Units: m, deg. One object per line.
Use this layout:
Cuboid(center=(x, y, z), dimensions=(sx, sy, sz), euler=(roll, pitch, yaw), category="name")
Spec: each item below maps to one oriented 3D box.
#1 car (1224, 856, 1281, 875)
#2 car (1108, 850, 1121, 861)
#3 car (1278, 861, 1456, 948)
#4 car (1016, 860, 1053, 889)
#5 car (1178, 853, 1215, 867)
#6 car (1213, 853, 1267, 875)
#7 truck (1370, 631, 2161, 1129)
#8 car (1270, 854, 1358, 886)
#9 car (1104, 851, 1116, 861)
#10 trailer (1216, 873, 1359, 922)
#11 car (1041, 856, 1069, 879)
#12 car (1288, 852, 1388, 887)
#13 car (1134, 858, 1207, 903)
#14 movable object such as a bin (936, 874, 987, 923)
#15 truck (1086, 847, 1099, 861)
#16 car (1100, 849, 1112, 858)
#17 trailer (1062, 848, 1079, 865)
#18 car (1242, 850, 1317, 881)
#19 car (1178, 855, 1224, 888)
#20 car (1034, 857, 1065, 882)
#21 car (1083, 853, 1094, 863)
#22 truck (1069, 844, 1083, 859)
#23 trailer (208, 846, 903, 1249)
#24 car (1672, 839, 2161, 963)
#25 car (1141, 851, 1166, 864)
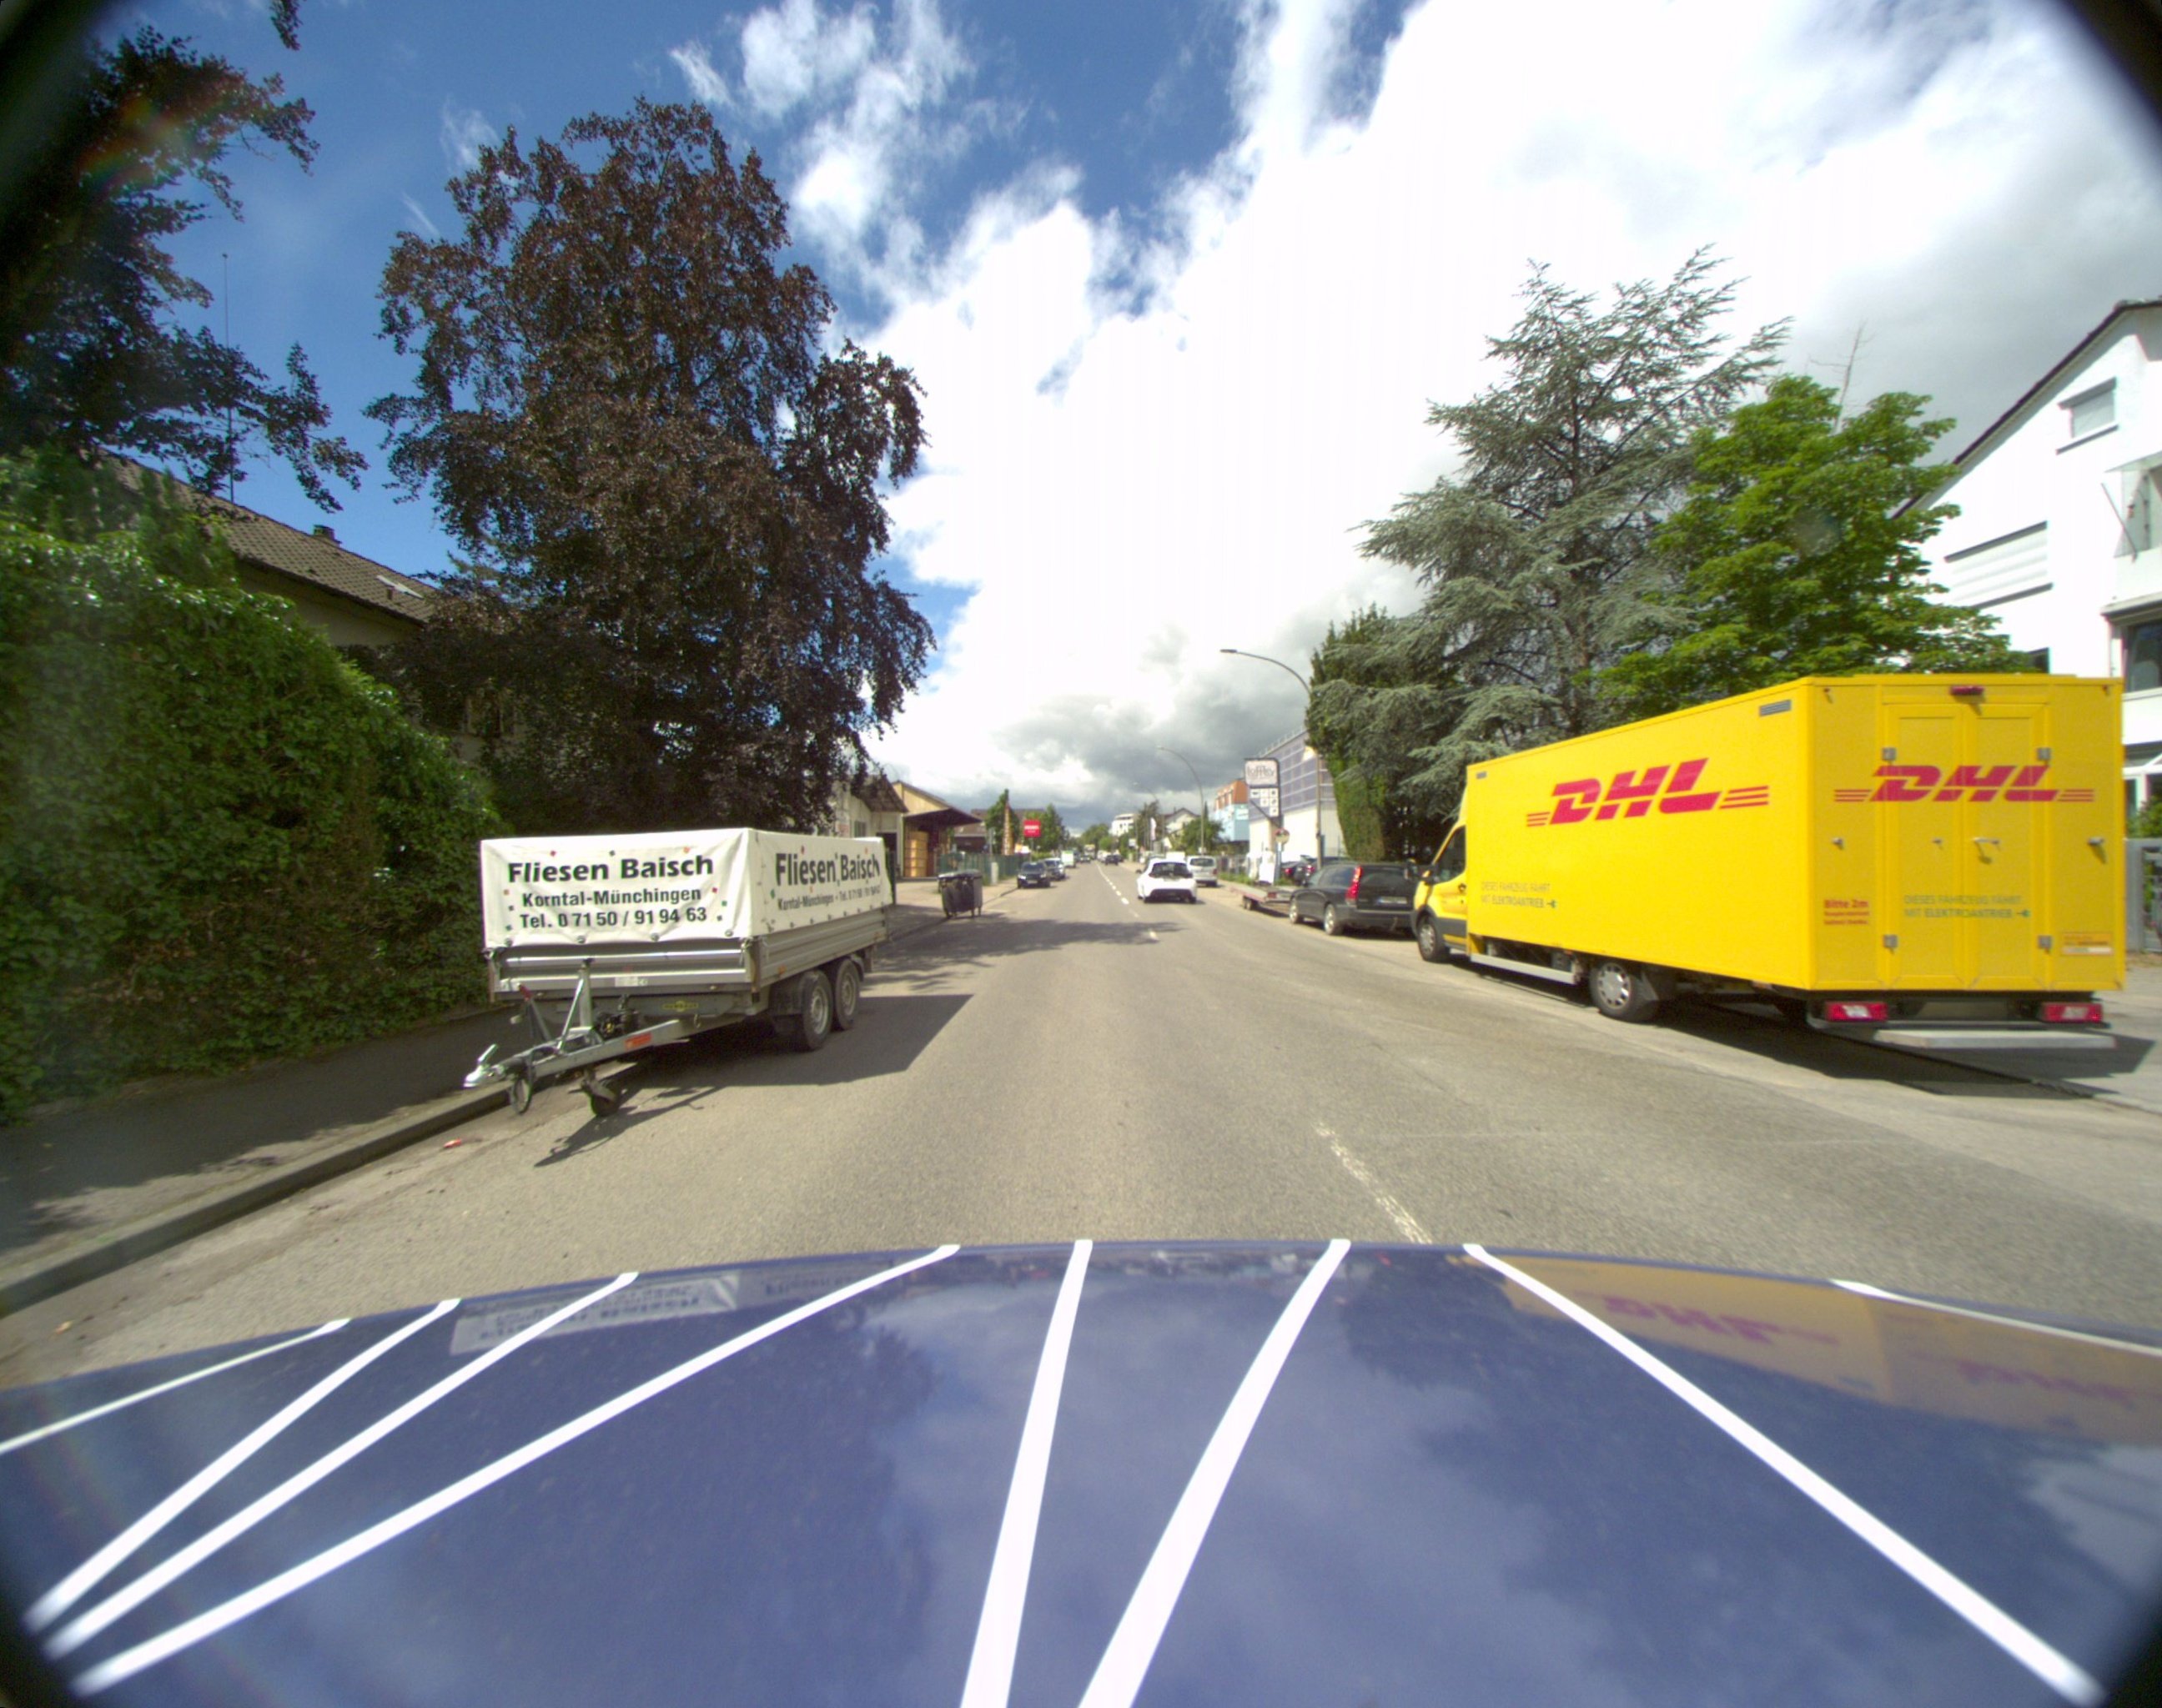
Cuboid(center=(13.277, 0.884, 58.951), dimensions=(3.955, 1.492, 1.777), euler=(0, -1, -1), category="car")
Cuboid(center=(5.225, 0.227, 118.308), dimensions=(1.859, 1.685, 4.001), euler=(-1, 0, 4), category="car")
Cuboid(center=(5.829, 0.948, 16.252), dimensions=(1.998, 1.445, 4.812), euler=(3, 0, 1), category="car")
Cuboid(center=(-2.532, 1.112, 42.164), dimensions=(1.759, 1.455, 4.000), euler=(-2, 0, 0), category="car")
Cuboid(center=(13.196, 0.675, 86.914), dimensions=(4.046, 1.485, 1.675), euler=(0, 0, 0), category="car")
Cuboid(center=(12.962, 0.767, 62.053), dimensions=(3.997, 1.727, 2.000), euler=(0, 1, 1), category="car")
Cuboid(center=(5.988, 0.171, 8.539), dimensions=(2.329, 2.986, 7.817), euler=(2, 0, -1), category="truck")
Cuboid(center=(12.358, 0.845, 40.514), dimensions=(3.998, 1.660, 2.103), euler=(0, 0, -2), category="car")
Cuboid(center=(5.332, 0.355, 139.200), dimensions=(1.999, 1.852, 3.835), euler=(0, 0, -1), category="car")
Cuboid(center=(5.780, 1.182, 22.571), dimensions=(2.324, 0.985, 7.459), euler=(1, 0, 1), category="trailer")
Cuboid(center=(-1.979, 0.992, 58.791), dimensions=(1.835, 1.608, 4.000), euler=(-4, 0, 2), category="car")
Cuboid(center=(12.520, 0.736, 37.208), dimensions=(4.169, 1.660, 1.999), euler=(-1, 0, -2), category="car")
Cuboid(center=(3.018, 0.876, 26.426), dimensions=(1.987, 1.412, 3.999), euler=(0, 0, -2), category="car")
Cuboid(center=(-3.324, 1.226, 21.307), dimensions=(1.115, 1.283, 1.358), euler=(0, 0, 5), category="movable object such as a bin")
Cuboid(center=(2.866, -0.040, 191.017), dimensions=(2.880, 3.290, 8.607), euler=(-3, 1, 1), category="truck")
Cuboid(center=(5.398, -0.049, 166.618), dimensions=(2.384, 2.002, 6.384), euler=(0, 0, 0), category="car")
Cuboid(center=(-1.379, 0.291, 100.511), dimensions=(2.044, 2.214, 5.079), euler=(0, 0, 1), category="trailer")
Cuboid(center=(11.960, 0.678, 46.005), dimensions=(3.997, 1.866, 2.000), euler=(0, 0, 1), category="car")
Cuboid(center=(6.322, 0.883, 40.352), dimensions=(1.809, 1.666, 4.128), euler=(1, 0, 1), category="car")
Cuboid(center=(-2.192, 1.042, 54.002), dimensions=(1.811, 1.566, 4.188), euler=(-3, 0, 1), category="car")
Cuboid(center=(1.375, 0.704, 140.849), dimensions=(1.998, 1.802, 4.000), euler=(-1, 0, 1), category="car")
Cuboid(center=(-0.971, -0.519, 152.132), dimensions=(2.410, 2.722, 6.640), euler=(-3, 1, 1), category="truck")
Cuboid(center=(-3.015, 0.910, 5.939), dimensions=(1.998, 1.812, 4.765), euler=(-2, 0, 1), category="trailer")
Cuboid(center=(11.662, 0.600, 10.812), dimensions=(5.021, 1.543, 1.972), euler=(-1, 1, -1), category="car")
Cuboid(center=(11.684, 0.540, 123.186), dimensions=(3.995, 2.002, 2.001), euler=(0, 0, 5), category="car")
